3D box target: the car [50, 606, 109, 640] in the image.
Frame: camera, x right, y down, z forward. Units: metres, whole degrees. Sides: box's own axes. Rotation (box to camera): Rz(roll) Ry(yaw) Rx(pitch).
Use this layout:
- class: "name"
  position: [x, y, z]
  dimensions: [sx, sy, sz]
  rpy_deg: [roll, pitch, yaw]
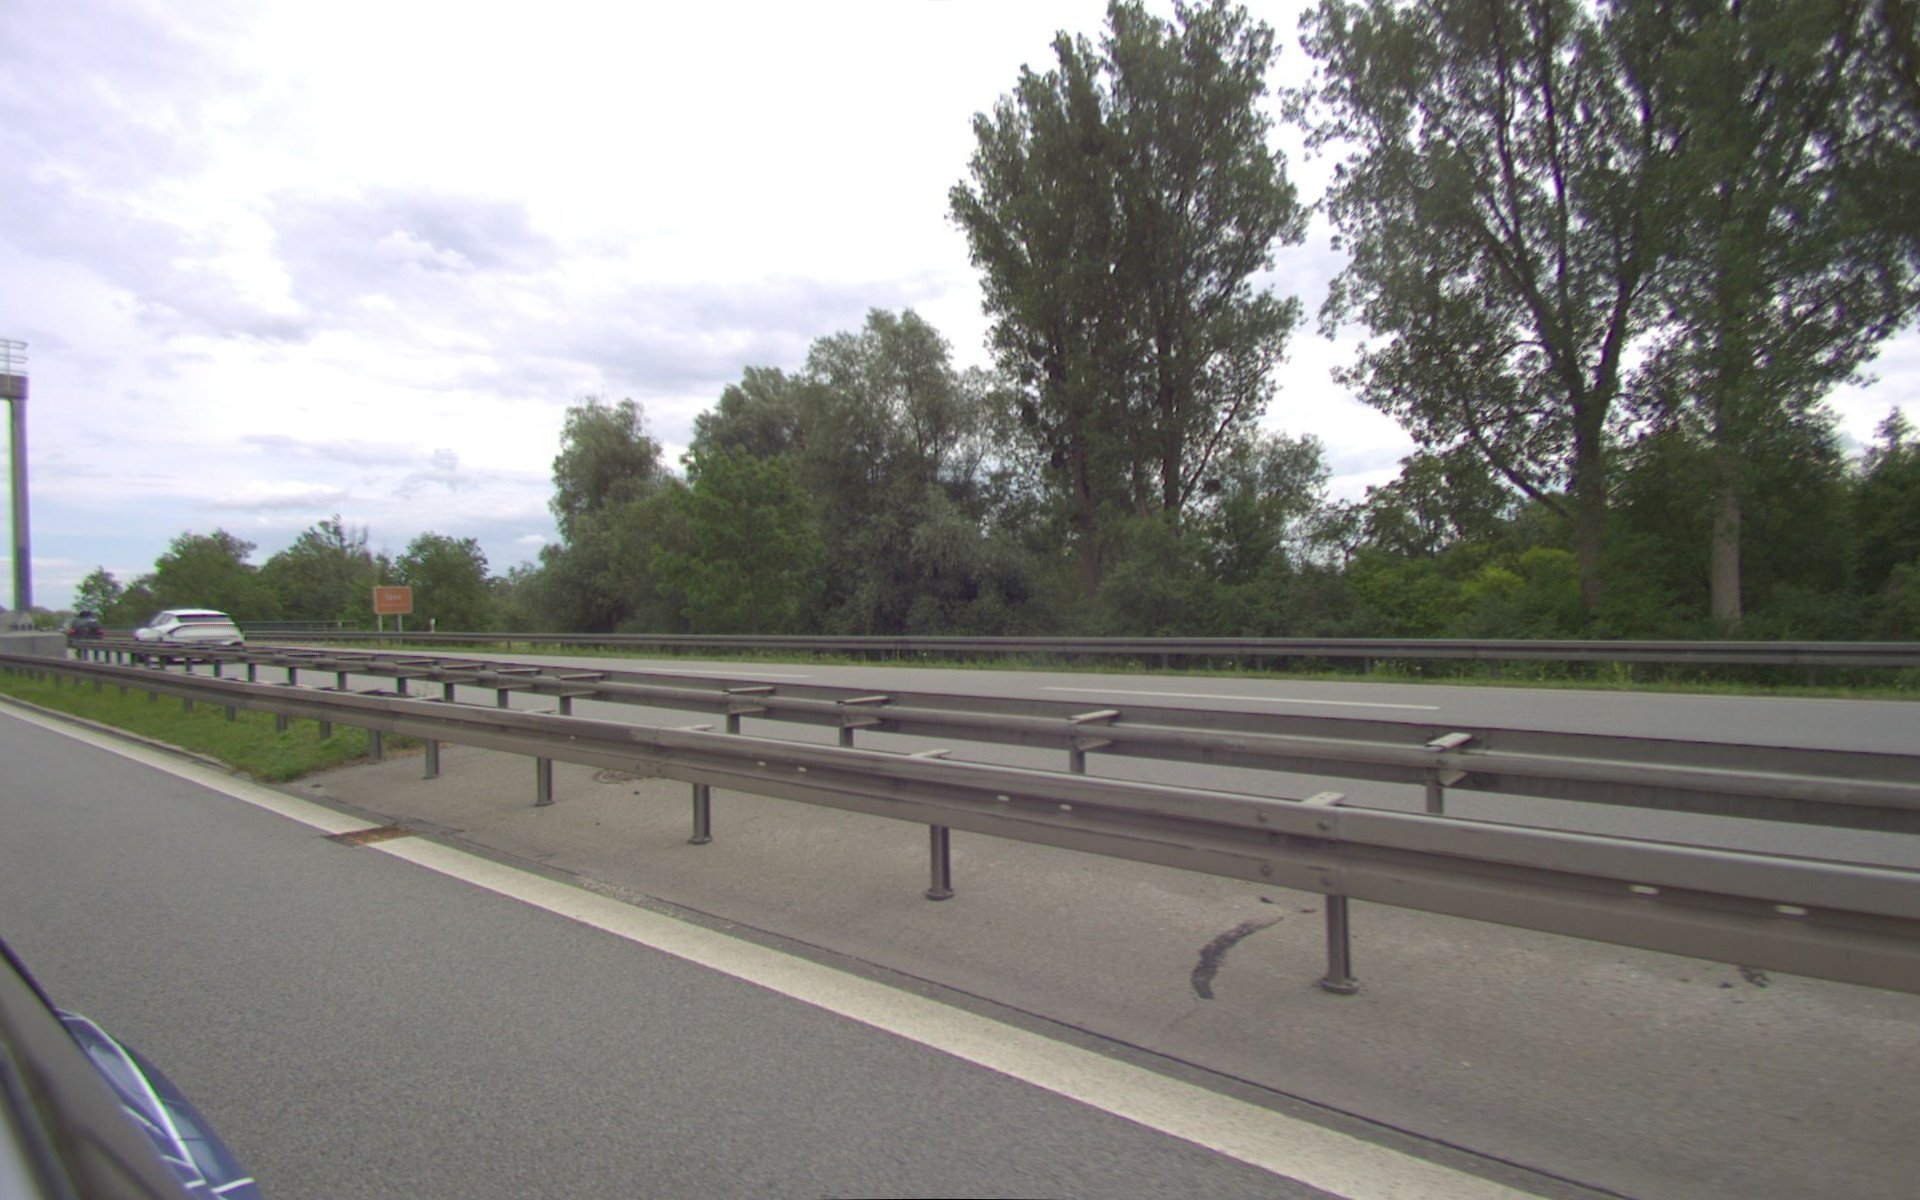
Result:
- class: "car"
  position: [-54.714, 1.430, 62.852]
  dimensions: [4.739, 2.017, 1.974]
  rpy_deg: [-1, 0, 39]

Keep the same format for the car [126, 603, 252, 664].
- class: "car"
  position: [-22.568, 0.940, 29.556]
  dimensions: [5.026, 1.627, 1.973]
  rpy_deg: [-1, 0, 41]
